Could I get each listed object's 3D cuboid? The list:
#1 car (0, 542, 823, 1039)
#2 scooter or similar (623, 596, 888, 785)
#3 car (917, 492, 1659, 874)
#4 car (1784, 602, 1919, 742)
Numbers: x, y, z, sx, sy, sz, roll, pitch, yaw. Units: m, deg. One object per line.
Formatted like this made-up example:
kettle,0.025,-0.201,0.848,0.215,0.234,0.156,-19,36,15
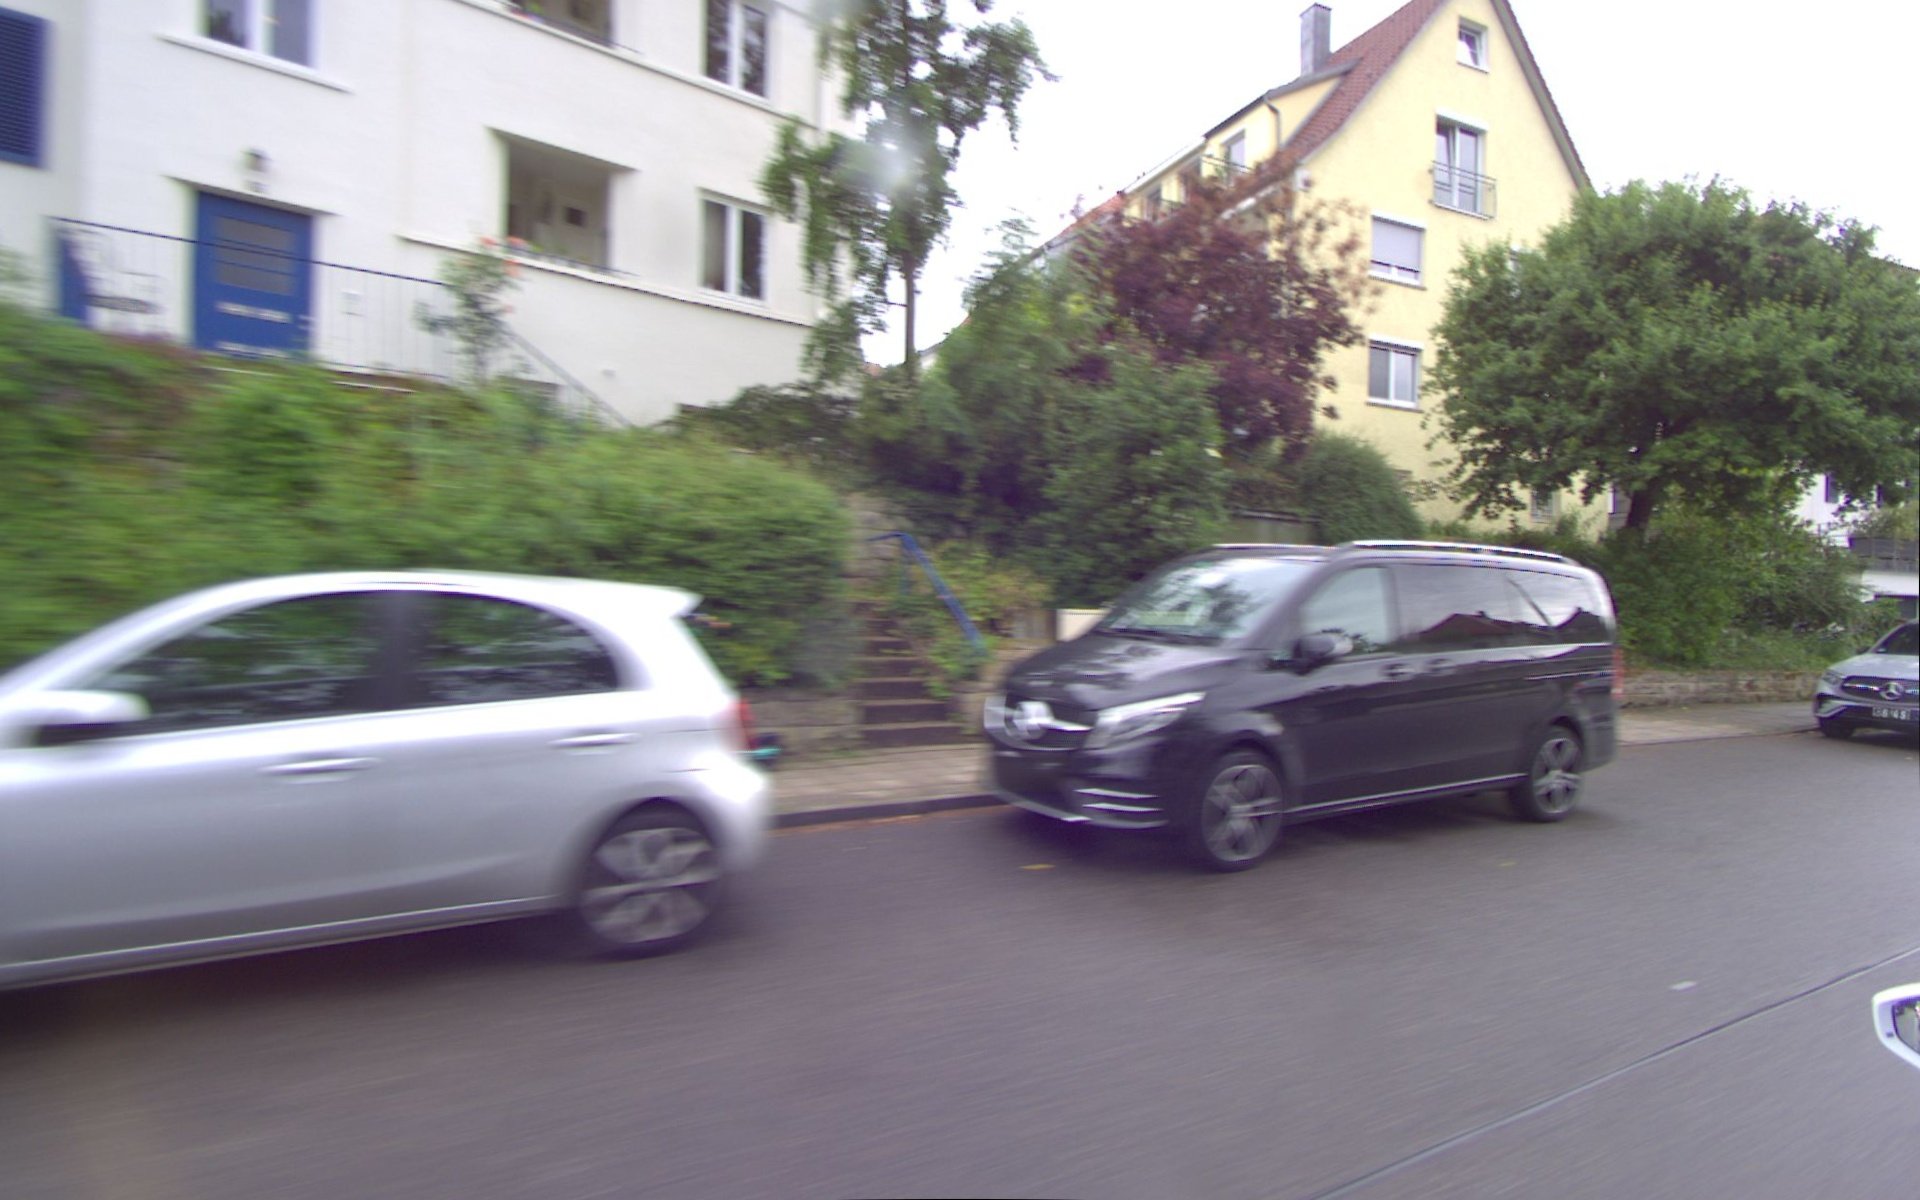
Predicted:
car,-2.640,0.569,4.044,3.770,1.466,1.686,2,0,-31
scooter or similar,-1.495,0.613,7.540,1.896,1.273,0.498,-1,2,-31
car,2.511,0.442,7.184,5.293,1.903,1.984,1,1,-30
car,13.474,0.941,13.531,4.702,1.602,1.985,2,3,-29
